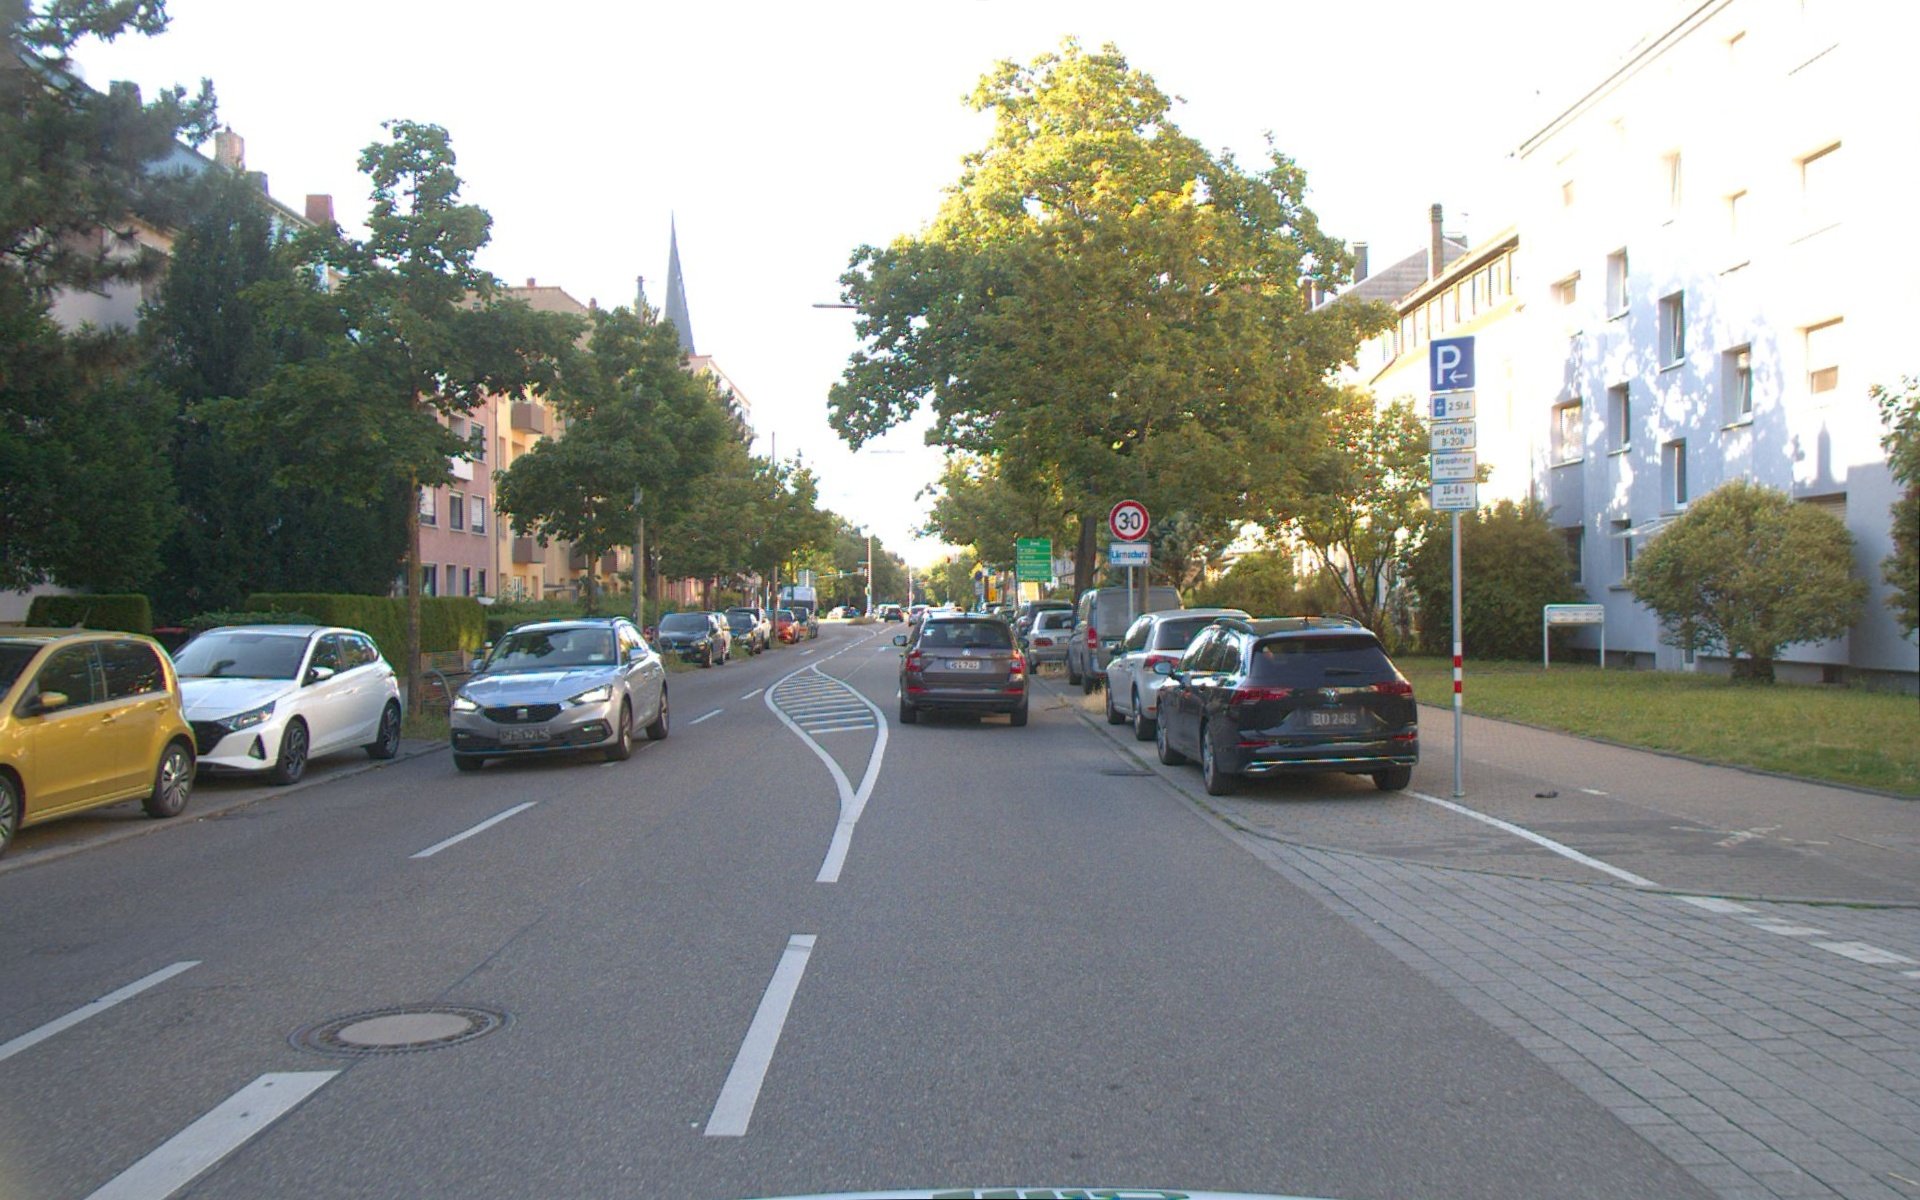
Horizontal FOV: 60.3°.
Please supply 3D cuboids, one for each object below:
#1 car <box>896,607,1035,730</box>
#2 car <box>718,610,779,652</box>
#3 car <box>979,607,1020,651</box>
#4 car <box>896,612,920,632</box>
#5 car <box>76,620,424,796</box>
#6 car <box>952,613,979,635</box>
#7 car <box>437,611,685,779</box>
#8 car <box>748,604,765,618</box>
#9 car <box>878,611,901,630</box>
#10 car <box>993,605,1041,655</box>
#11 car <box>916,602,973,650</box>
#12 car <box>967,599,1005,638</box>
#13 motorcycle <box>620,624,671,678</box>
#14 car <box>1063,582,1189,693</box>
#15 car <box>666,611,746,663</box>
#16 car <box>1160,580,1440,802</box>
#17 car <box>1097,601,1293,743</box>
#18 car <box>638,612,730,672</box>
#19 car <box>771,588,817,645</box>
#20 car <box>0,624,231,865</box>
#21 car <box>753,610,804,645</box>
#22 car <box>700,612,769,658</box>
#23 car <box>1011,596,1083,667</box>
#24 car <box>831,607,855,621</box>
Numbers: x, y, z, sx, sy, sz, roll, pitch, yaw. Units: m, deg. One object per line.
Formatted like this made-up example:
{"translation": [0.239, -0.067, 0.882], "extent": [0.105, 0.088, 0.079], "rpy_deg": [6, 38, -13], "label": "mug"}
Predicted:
{"translation": [0.096, 0.867, 22.765], "extent": [1.718, 1.518, 4.000], "rpy_deg": [1, 0, 1], "label": "car"}
{"translation": [-8.055, 1.153, 63.228], "extent": [1.744, 1.506, 3.971], "rpy_deg": [1, 0, 1], "label": "car"}
{"translation": [1.747, 1.275, 74.449], "extent": [1.718, 1.837, 4.000], "rpy_deg": [-3, 0, 1], "label": "car"}
{"translation": [-4.138, 1.694, 130.808], "extent": [1.746, 1.506, 3.967], "rpy_deg": [1, 0, -4], "label": "car"}
{"translation": [-7.030, 0.995, 16.866], "extent": [1.744, 1.521, 3.971], "rpy_deg": [1, 0, 1], "label": "car"}
{"translation": [0.390, 1.777, 123.963], "extent": [1.613, 1.627, 3.645], "rpy_deg": [-1, 0, -6], "label": "car"}
{"translation": [-4.244, 0.935, 18.254], "extent": [1.704, 1.505, 4.308], "rpy_deg": [-4, 0, -2], "label": "car"}
{"translation": [-26.251, 1.399, 213.289], "extent": [1.956, 1.780, 3.992], "rpy_deg": [-1, 0, -8], "label": "car"}
{"translation": [-6.785, 1.978, 158.328], "extent": [1.955, 1.780, 3.994], "rpy_deg": [-1, 0, -6], "label": "car"}
{"translation": [2.136, 1.113, 63.050], "extent": [1.718, 1.837, 4.000], "rpy_deg": [1, 0, 1], "label": "car"}
{"translation": [-0.582, 0.939, 58.422], "extent": [1.854, 1.533, 3.788], "rpy_deg": [3, -1, -2], "label": "car"}
{"translation": [1.249, 0.880, 79.777], "extent": [1.718, 1.837, 3.999], "rpy_deg": [1, 0, -1], "label": "car"}
{"translation": [-7.411, 1.185, 39.063], "extent": [0.724, 1.225, 2.142], "rpy_deg": [1, 0, 2], "label": "motorcycle"}
{"translation": [3.027, 0.661, 31.241], "extent": [1.877, 1.893, 5.633], "rpy_deg": [0, 0, 1], "label": "car"}
{"translation": [-7.802, 1.105, 51.095], "extent": [1.744, 1.506, 3.971], "rpy_deg": [1, 0, 1], "label": "car"}
{"translation": [2.933, 0.726, 15.154], "extent": [1.718, 1.716, 4.252], "rpy_deg": [1, 0, 1], "label": "car"}
{"translation": [2.834, 0.831, 20.809], "extent": [1.719, 1.584, 4.102], "rpy_deg": [1, 0, -2], "label": "car"}
{"translation": [-7.459, 1.108, 45.023], "extent": [1.744, 1.506, 4.033], "rpy_deg": [1, 0, 1], "label": "car"}
{"translation": [-8.616, 0.840, 86.256], "extent": [1.951, 2.830, 5.501], "rpy_deg": [1, 0, -2], "label": "car"}
{"translation": [-6.992, 0.963, 12.016], "extent": [1.585, 1.506, 3.872], "rpy_deg": [1, 0, 1], "label": "car"}
{"translation": [-8.064, 1.195, 73.699], "extent": [1.744, 1.506, 3.971], "rpy_deg": [1, 0, 1], "label": "car"}
{"translation": [-7.813, 1.174, 57.534], "extent": [1.744, 1.506, 3.971], "rpy_deg": [1, 0, 1], "label": "car"}
{"translation": [2.267, 0.805, 43.750], "extent": [1.718, 1.745, 4.000], "rpy_deg": [1, 0, 1], "label": "car"}
{"translation": [-13.600, 1.627, 192.306], "extent": [1.624, 1.627, 3.570], "rpy_deg": [-1, 0, -26], "label": "car"}
